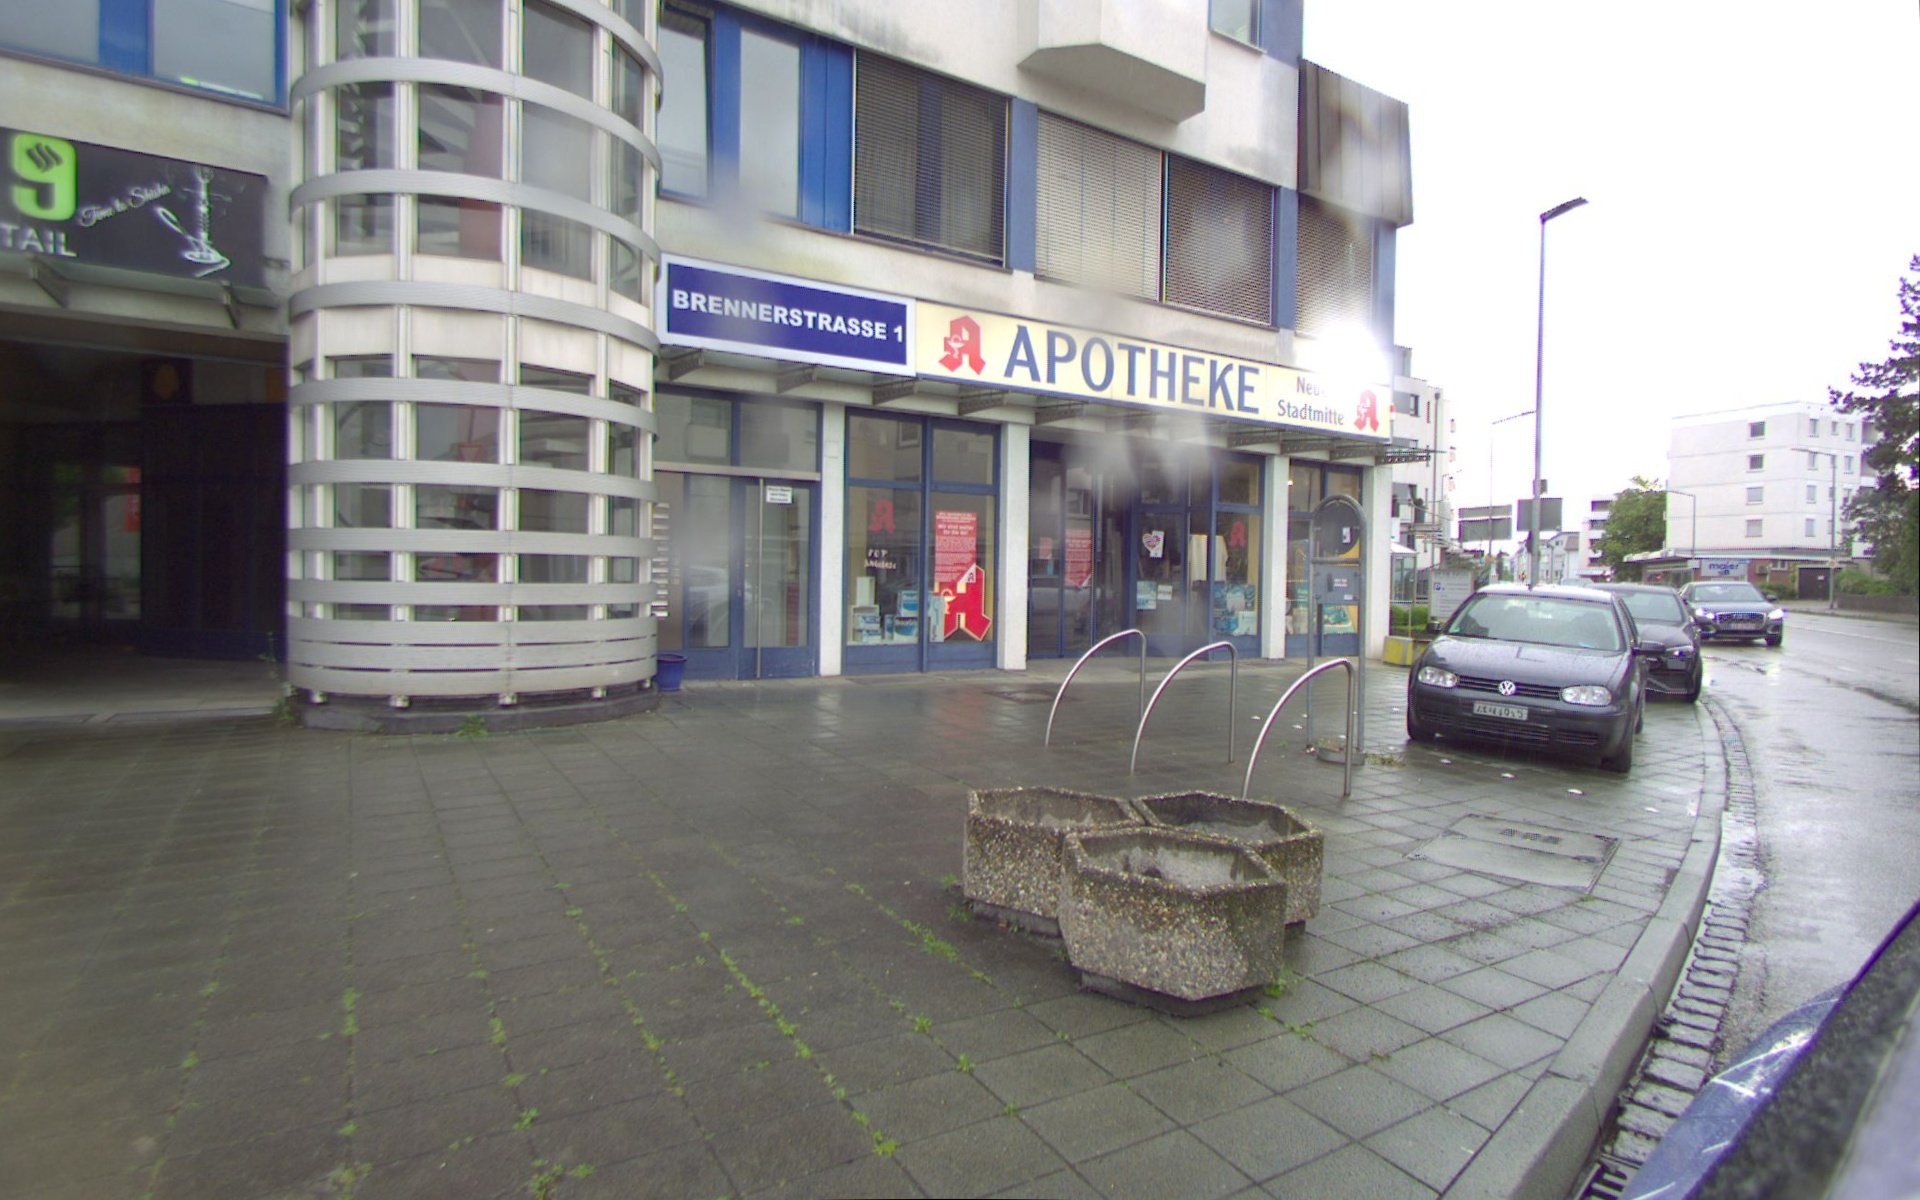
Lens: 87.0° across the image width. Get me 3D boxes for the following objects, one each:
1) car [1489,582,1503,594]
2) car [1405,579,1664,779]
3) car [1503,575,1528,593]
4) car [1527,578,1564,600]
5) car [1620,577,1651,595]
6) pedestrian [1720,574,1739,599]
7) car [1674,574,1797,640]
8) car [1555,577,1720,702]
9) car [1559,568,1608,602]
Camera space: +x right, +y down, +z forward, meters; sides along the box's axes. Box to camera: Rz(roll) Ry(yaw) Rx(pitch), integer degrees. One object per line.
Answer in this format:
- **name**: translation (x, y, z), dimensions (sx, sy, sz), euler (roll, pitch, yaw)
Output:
- **car**: translation (78.608, -1.716, 148.479), dimensions (1.728, 1.660, 3.963), euler (1, 2, 27)
- **car**: translation (5.486, 0.545, 9.439), dimensions (1.646, 1.388, 3.683), euler (5, 4, 36)
- **car**: translation (52.654, -1.487, 95.961), dimensions (1.982, 1.635, 3.960), euler (-1, 1, 29)
- **car**: translation (40.476, -0.812, 70.008), dimensions (1.783, 1.385, 3.941), euler (1, 3, 25)
- **car**: translation (57.395, -1.186, 86.038), dimensions (1.855, 1.454, 3.704), euler (1, 2, 28)
- **pedestrian**: translation (56.167, -1.002, 73.893), dimensions (0.845, 1.757, 0.831), euler (1, 2, 20)
- **car**: translation (19.065, 0.106, 25.043), dimensions (1.719, 1.462, 4.009), euler (0, 2, 27)
- **car**: translation (9.420, 0.426, 14.020), dimensions (1.650, 1.442, 3.949), euler (2, 2, 36)
- **car**: translation (30.457, -0.735, 49.533), dimensions (1.718, 1.547, 4.024), euler (2, 1, 27)
